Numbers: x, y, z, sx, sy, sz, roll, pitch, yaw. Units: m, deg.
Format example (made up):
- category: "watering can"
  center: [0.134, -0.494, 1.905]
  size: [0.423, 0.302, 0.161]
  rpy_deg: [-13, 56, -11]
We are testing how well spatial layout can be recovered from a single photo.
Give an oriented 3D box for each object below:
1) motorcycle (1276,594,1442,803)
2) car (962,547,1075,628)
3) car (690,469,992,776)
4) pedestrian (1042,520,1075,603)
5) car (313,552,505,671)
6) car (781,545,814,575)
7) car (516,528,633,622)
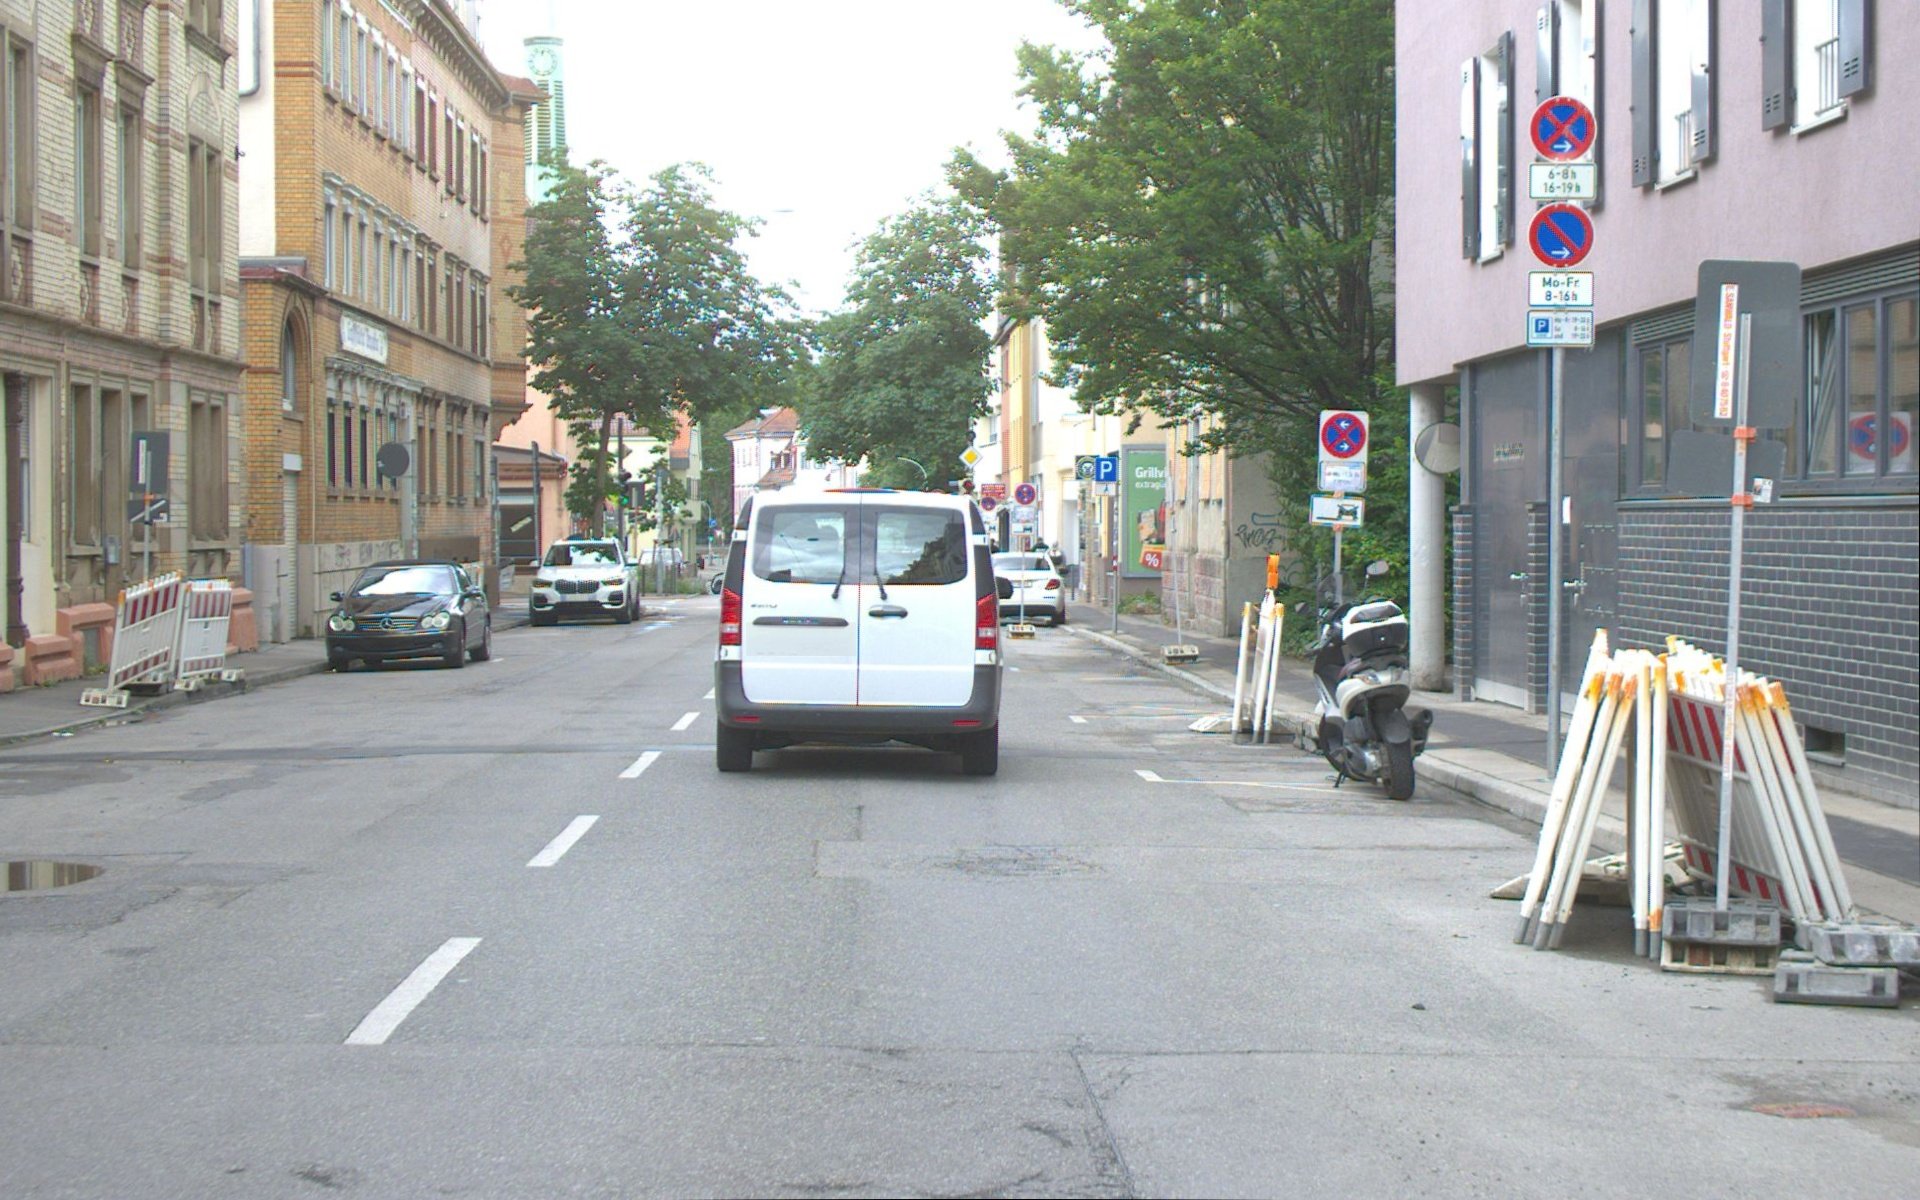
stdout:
- category: "motorcycle"
  center: [2.536, 0.596, 22.065]
  size: [0.643, 1.242, 2.268]
  rpy_deg: [1, 1, -4]
- category: "car"
  center: [1.161, -0.281, 70.081]
  size: [1.993, 1.480, 4.001]
  rpy_deg: [4, 1, -2]
- category: "car"
  center: [-0.797, 0.111, 24.069]
  size: [1.891, 1.922, 4.645]
  rpy_deg: [1, 1, -1]
- category: "pedestrian"
  center: [2.434, -0.940, 84.826]
  size: [0.623, 2.007, 0.907]
  rpy_deg: [4, 1, 5]
- category: "car"
  center: [-7.163, 0.117, 45.057]
  size: [1.993, 1.437, 4.001]
  rpy_deg: [-1, 1, -2]
- category: "car"
  center: [-9.264, -2.275, 195.761]
  size: [1.754, 1.667, 3.669]
  rpy_deg: [0, 1, -1]
- category: "car"
  center: [-7.790, -0.536, 69.730]
  size: [1.993, 1.735, 4.001]
  rpy_deg: [4, 1, -3]
